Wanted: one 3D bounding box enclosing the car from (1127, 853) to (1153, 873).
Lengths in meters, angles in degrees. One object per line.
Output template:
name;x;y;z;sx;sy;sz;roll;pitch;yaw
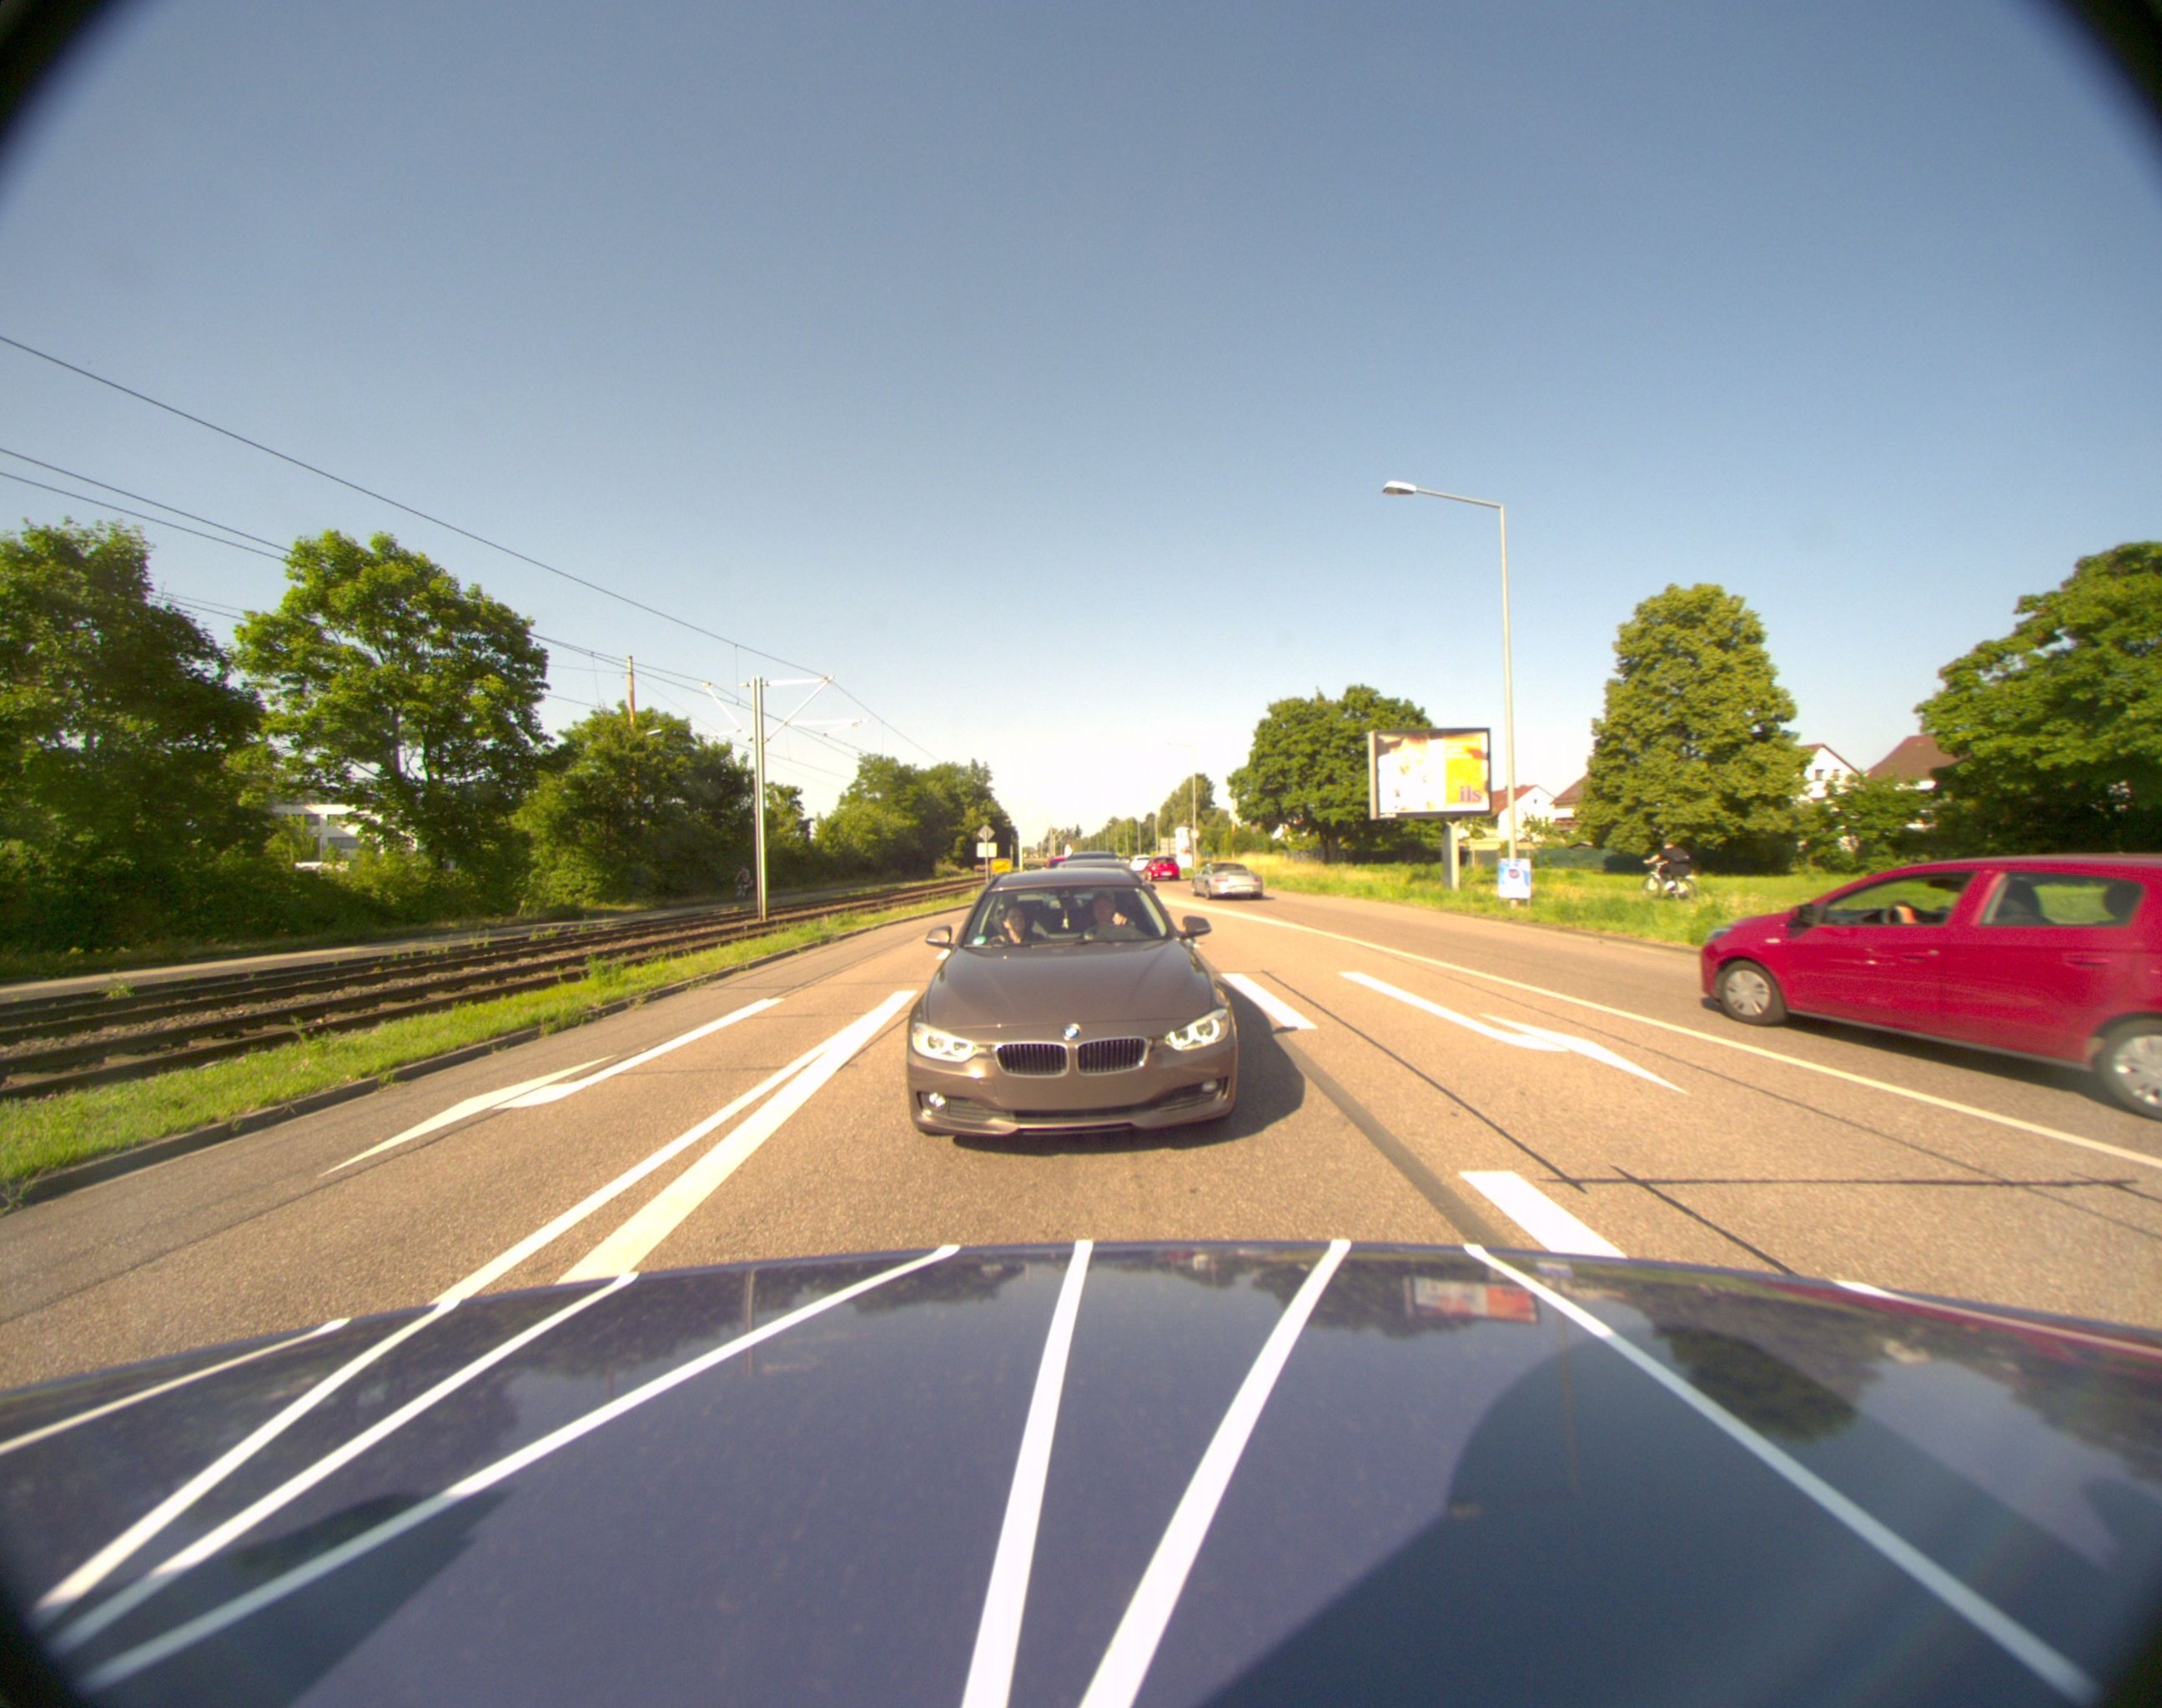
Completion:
car;4.666;0.672;60.409;1.784;1.469;4.273;-1;0;1

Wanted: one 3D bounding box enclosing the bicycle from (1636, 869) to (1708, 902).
bicycle;15.237;0.795;19.643;0.455;0.749;1.834;-1;0;2

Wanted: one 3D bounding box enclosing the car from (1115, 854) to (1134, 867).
car;5.156;0.737;90.486;1.784;1.469;4.285;-1;0;-4

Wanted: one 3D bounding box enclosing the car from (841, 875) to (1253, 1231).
car;-0.128;0.976;5.693;1.821;1.416;4.461;-2;0;1

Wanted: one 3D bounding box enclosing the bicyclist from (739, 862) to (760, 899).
bicyclist;-16.650;1.331;38.208;0.708;1.797;0.717;-1;1;0

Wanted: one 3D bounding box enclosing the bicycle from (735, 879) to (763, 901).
bicycle;-16.657;1.793;38.174;0.547;1.041;1.873;-1;0;0

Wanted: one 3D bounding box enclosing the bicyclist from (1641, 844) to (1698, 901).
bicyclist;15.206;0.472;19.647;0.638;1.420;1.072;-1;1;2

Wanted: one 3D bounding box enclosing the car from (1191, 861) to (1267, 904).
car;5.089;0.928;26.723;1.784;1.302;4.286;-1;0;-1

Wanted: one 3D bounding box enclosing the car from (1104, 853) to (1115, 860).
car;5.441;0.478;147.268;1.784;1.469;4.285;-1;0;-3

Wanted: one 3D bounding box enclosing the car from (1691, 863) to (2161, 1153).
car;6.560;0.838;5.217;1.699;1.489;3.675;0;0;-2

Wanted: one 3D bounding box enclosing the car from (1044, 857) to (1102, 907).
car;-0.239;0.884;25.974;1.807;1.498;4.197;-1;0;0

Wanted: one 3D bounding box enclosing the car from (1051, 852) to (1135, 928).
car;0.292;0.802;19.379;1.821;1.641;4.611;-2;0;0

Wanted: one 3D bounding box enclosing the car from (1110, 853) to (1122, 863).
car;5.463;0.655;119.159;1.784;1.469;4.287;-1;0;2

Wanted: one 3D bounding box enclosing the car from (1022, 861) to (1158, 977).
car;0.144;0.901;12.639;1.821;1.481;4.611;-1;0;0

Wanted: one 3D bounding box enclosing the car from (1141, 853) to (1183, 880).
car;4.647;0.715;44.049;1.784;1.469;3.912;-1;0;-4
